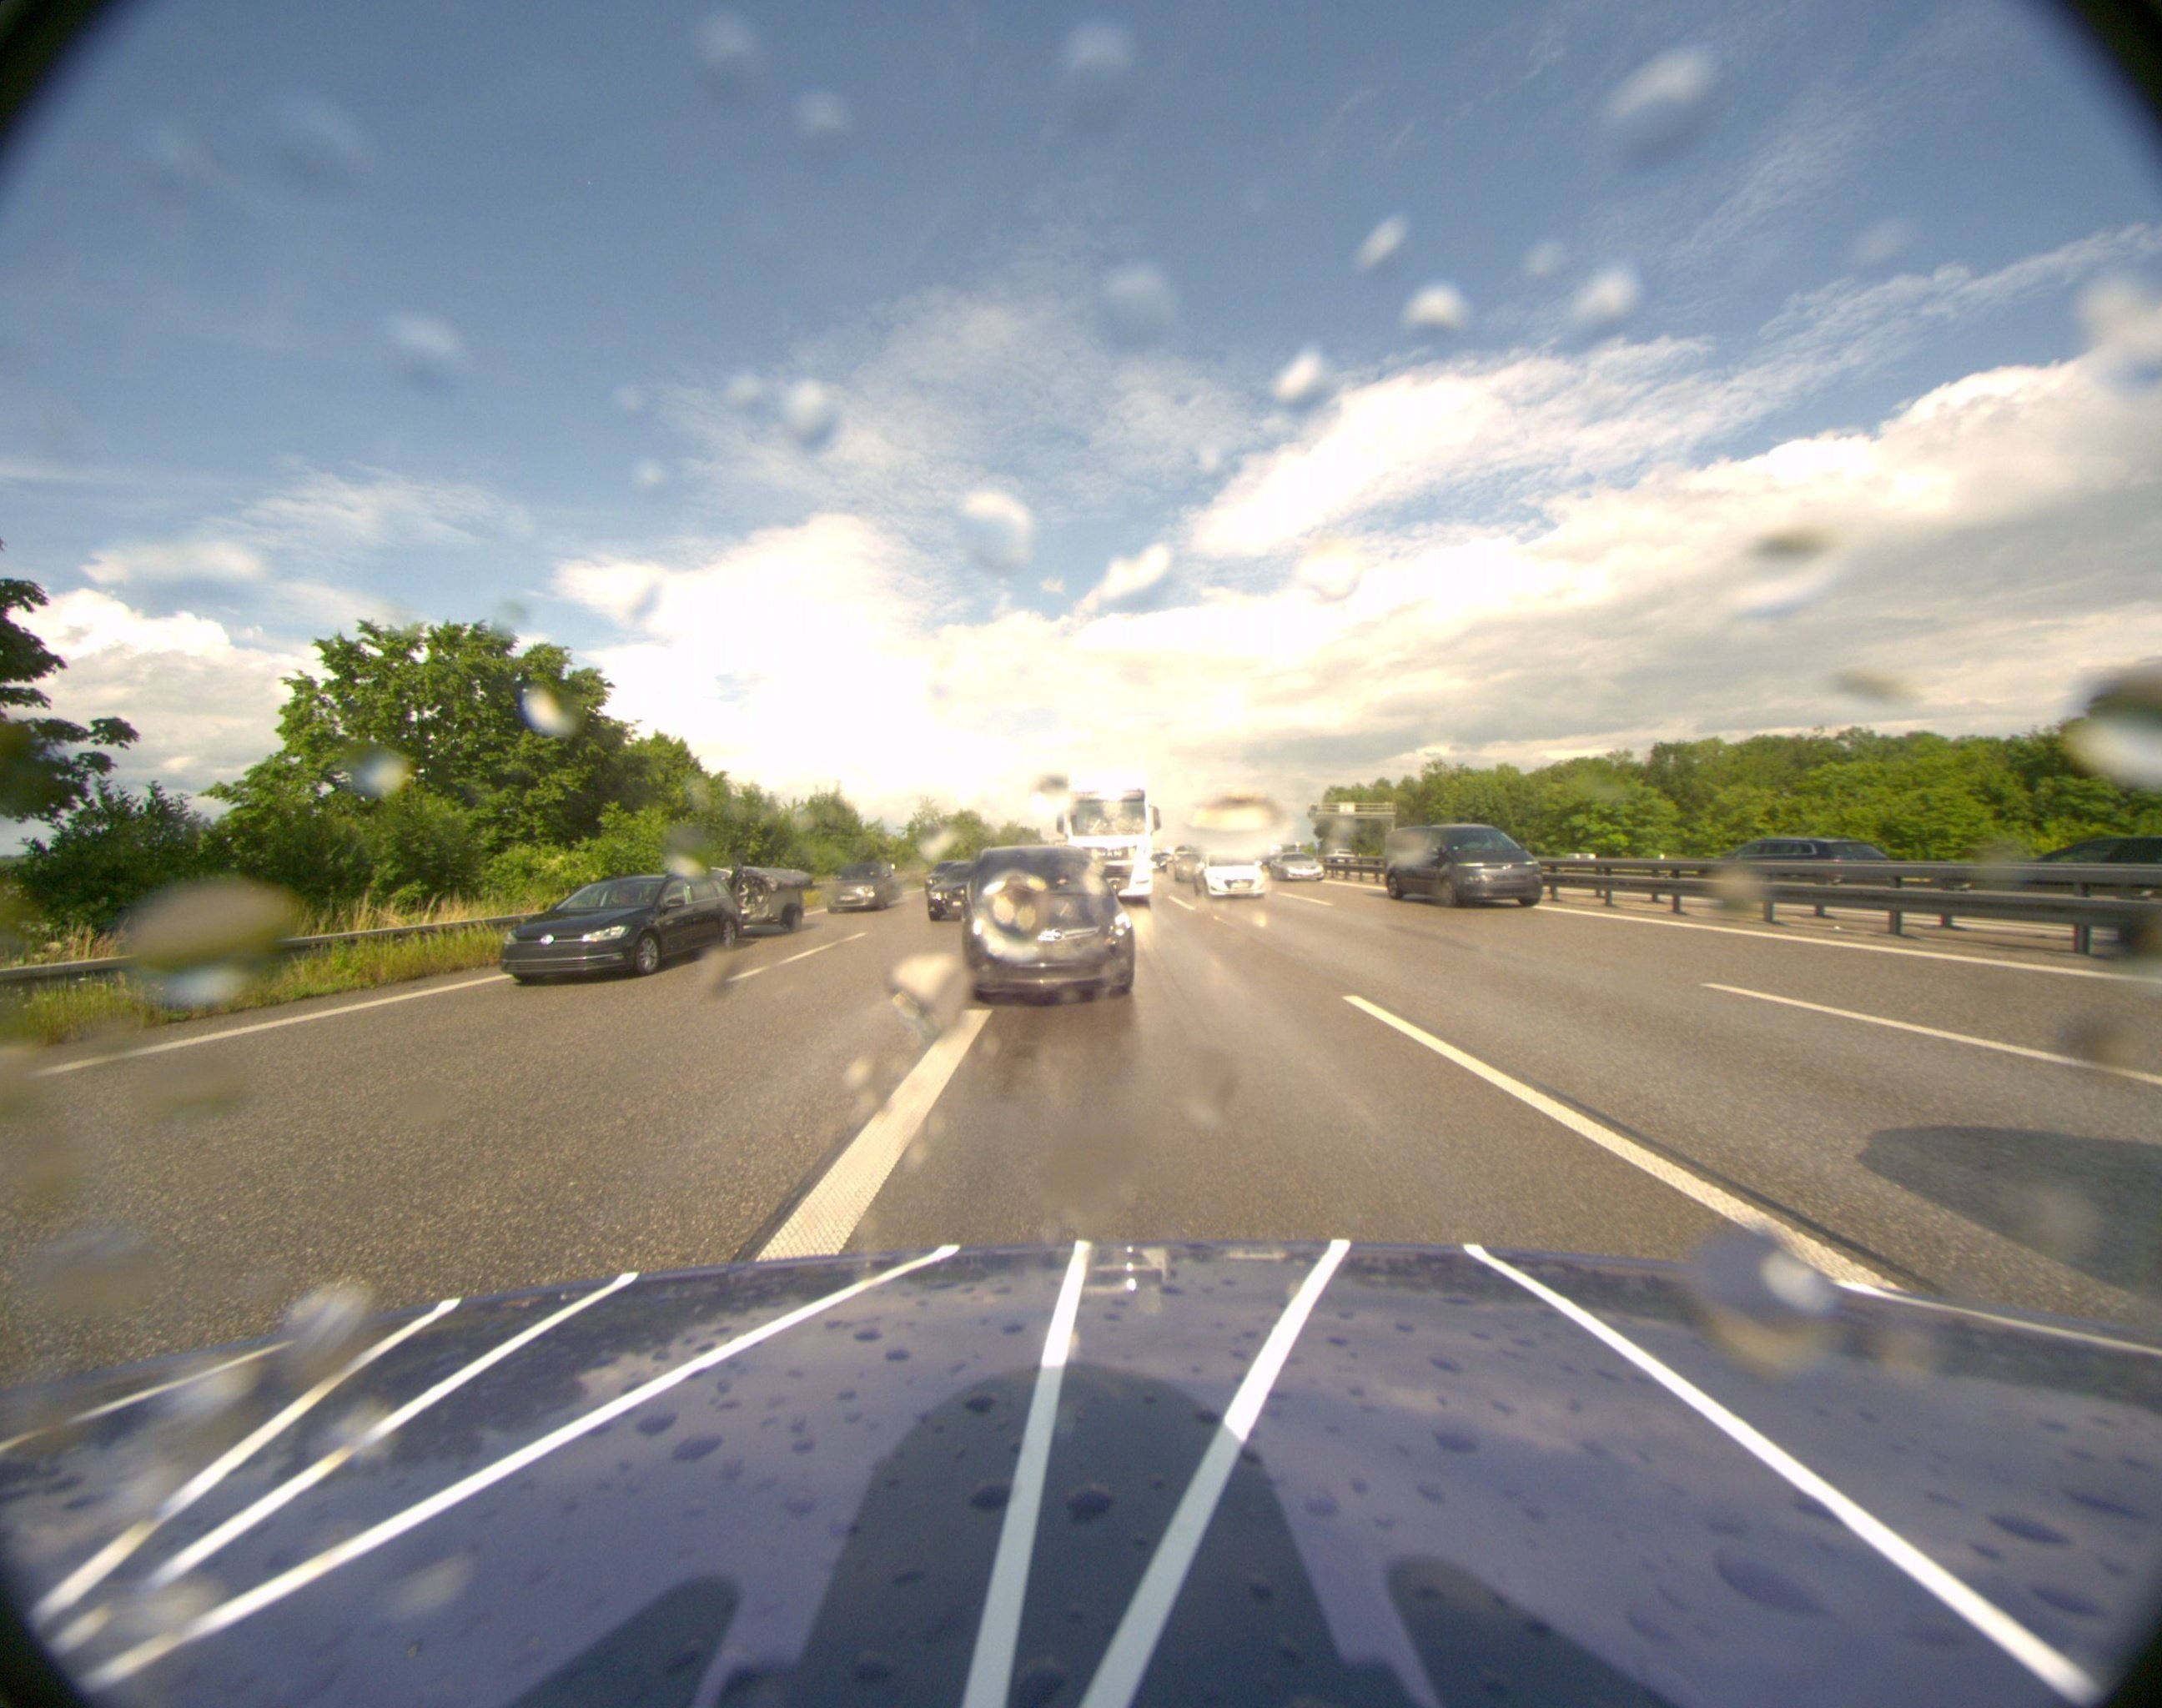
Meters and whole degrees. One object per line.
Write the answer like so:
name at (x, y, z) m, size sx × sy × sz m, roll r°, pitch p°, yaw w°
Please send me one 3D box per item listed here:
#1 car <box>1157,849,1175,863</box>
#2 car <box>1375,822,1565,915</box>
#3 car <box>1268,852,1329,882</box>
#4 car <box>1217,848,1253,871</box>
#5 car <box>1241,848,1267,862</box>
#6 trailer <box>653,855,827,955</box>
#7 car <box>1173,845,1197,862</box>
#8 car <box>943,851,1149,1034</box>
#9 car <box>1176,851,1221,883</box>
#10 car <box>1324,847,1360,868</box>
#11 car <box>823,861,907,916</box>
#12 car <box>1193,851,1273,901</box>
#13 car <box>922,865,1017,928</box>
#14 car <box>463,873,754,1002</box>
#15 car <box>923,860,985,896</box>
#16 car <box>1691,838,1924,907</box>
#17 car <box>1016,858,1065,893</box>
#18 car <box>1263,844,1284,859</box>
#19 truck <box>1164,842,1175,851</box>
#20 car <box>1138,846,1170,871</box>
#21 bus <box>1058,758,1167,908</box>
car at (11.313, 0.205, 101.385) m, size 1.900 × 1.740 × 3.999 m, roll -2°, pitch 1°, yaw 0°
car at (9.207, 0.289, 18.639) m, size 1.998 × 1.906 × 5.236 m, roll -2°, pitch 0°, yaw 1°
car at (9.752, 0.555, 34.331) m, size 1.856 × 1.182 × 3.583 m, roll -2°, pitch 0°, yaw 3°
car at (9.982, 0.343, 49.502) m, size 1.618 × 1.412 × 4.000 m, roll -2°, pitch 0°, yaw 1°
car at (18.306, 0.103, 80.490) m, size 1.850 × 1.443 × 3.633 m, roll -2°, pitch 0°, yaw 0°
trailer at (-6.952, 0.946, 16.001) m, size 1.810 × 1.736 × 3.967 m, roll -3°, pitch 0°, yaw -1°
car at (11.040, -0.049, 80.849) m, size 1.900 × 1.740 × 3.999 m, roll -2°, pitch 1°, yaw 0°
car at (-0.543, 0.811, 9.412) m, size 1.859 × 1.622 × 4.733 m, roll -2°, pitch 0°, yaw -6°
car at (5.601, 0.588, 36.627) m, size 1.597 × 1.390 × 4.000 m, roll -2°, pitch 0°, yaw 1°
car at (21.910, 0.267, 63.893) m, size 1.738 × 1.641 × 3.810 m, roll -2°, pitch 0°, yaw 0°
car at (-6.696, 1.026, 23.892) m, size 1.616 × 1.480 × 3.481 m, roll -2°, pitch 1°, yaw 0°
car at (4.743, 0.637, 24.226) m, size 1.809 × 1.389 × 4.240 m, roll -1°, pitch 0°, yaw 2°
car at (-2.749, 1.020, 19.556) m, size 1.722 × 1.346 × 3.884 m, roll -2°, pitch 0°, yaw 1°
car at (-6.901, 1.112, 11.785) m, size 1.747 × 1.422 × 4.404 m, roll -2°, pitch 0°, yaw 0°
car at (-5.475, 0.992, 33.234) m, size 1.771 × 1.343 × 4.580 m, roll -2°, pitch 0°, yaw 2°
car at (20.245, 0.461, 21.569) m, size 1.998 × 1.675 × 4.826 m, roll -2°, pitch 0°, yaw 0°
car at (-1.732, 0.909, 33.608) m, size 1.743 × 1.357 × 4.000 m, roll -2°, pitch 0°, yaw 2°
car at (26.253, -0.337, 103.738) m, size 1.998 × 2.002 × 4.364 m, roll -2°, pitch 0°, yaw 4°
truck at (30.975, -2.605, 265.882) m, size 2.923 × 2.970 × 8.721 m, roll -2°, pitch 1°, yaw 1°
car at (5.315, 0.318, 55.717) m, size 1.889 × 1.707 × 3.999 m, roll -2°, pitch 1°, yaw 0°
bus at (1.001, -0.612, 26.293) m, size 2.904 × 4.104 × 9.845 m, roll -2°, pitch 0°, yaw 1°
